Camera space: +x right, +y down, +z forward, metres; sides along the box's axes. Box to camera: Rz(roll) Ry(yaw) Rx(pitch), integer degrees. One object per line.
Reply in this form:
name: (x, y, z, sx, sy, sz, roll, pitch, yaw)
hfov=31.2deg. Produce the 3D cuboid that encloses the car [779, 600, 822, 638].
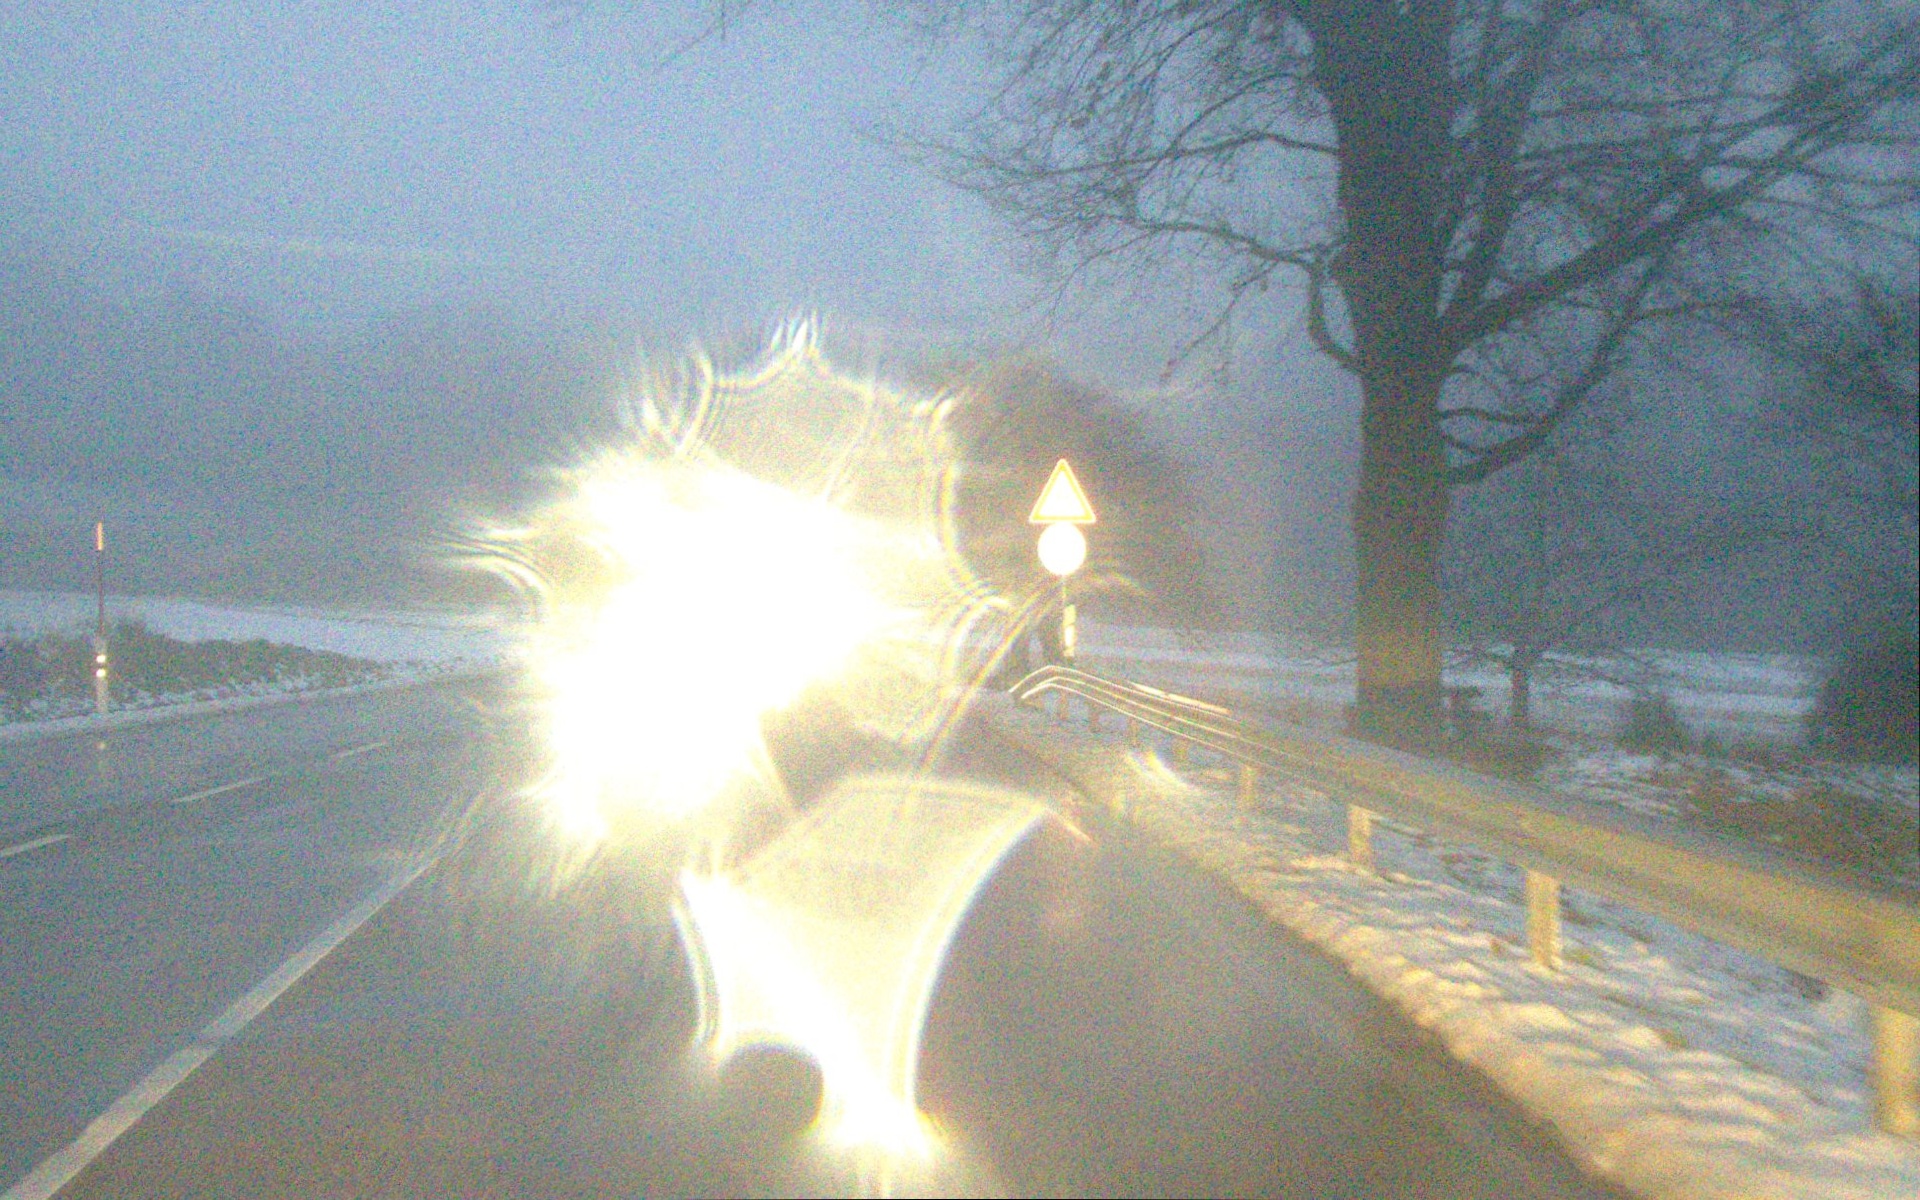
car: (-7.021, 0.816, 151.503, 1.692, 1.547, 3.856, 1, 1, 0)
